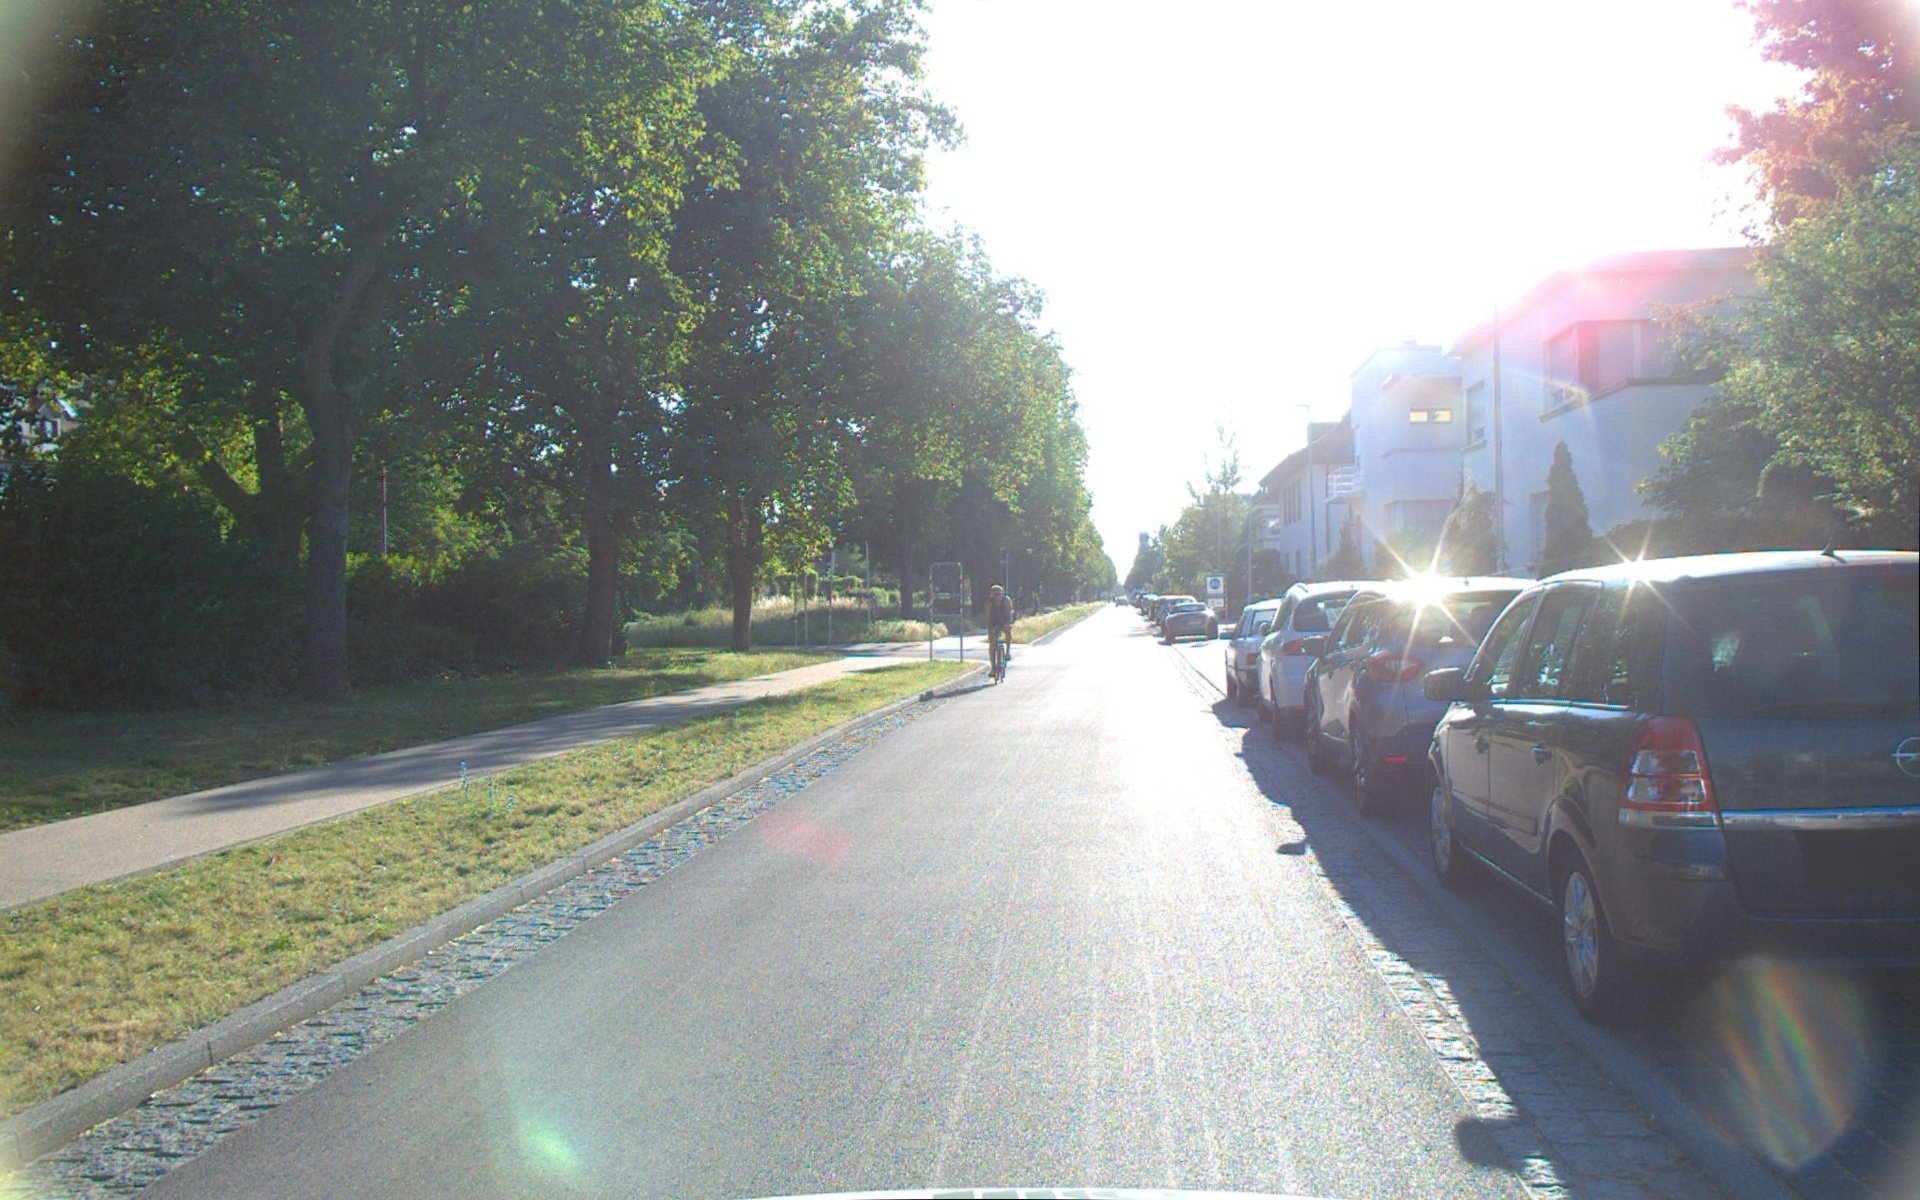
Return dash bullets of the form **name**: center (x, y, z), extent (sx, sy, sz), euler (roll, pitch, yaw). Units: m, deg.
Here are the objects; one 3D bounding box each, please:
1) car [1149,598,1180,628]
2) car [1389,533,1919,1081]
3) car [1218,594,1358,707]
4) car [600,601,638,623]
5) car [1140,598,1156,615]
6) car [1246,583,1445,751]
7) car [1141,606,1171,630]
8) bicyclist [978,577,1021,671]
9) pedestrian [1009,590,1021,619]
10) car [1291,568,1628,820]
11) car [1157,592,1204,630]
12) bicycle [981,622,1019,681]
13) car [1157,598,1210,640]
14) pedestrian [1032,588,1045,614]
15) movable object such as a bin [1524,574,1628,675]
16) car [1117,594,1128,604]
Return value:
- **car**: center (11.351, 0.684, 91.757), extent (1.593, 1.531, 3.636), euler (-3, 0, 6)
- **car**: center (3.108, 0.606, 7.106), extent (1.674, 1.639, 4.171), euler (-3, 0, 4)
- **car**: center (4.610, 0.652, 23.755), extent (1.530, 1.414, 4.377), euler (-2, 0, 6)
- **car**: center (-25.057, 0.871, 121.634), extent (1.657, 1.625, 4.224), euler (0, 0, 5)
- **car**: center (18.188, 0.603, 159.711), extent (1.466, 1.594, 3.269), euler (-1, 0, 7)
- **car**: center (4.132, 0.656, 18.287), extent (1.643, 1.583, 4.133), euler (-2, 0, 7)
- **car**: center (12.780, 1.194, 108.042), extent (1.700, 1.474, 4.199), euler (-2, -1, 4)
- **bicyclist**: center (0.747, 0.453, 30.852), extent (0.667, 1.702, 1.173), euler (-2, -1, 5)
- **pedestrian**: center (3.581, 0.291, 107.597), extent (0.611, 1.863, 0.887), euler (-1, 0, 9)
- **car**: center (3.652, 0.613, 12.819), extent (1.643, 1.583, 4.147), euler (-2, 0, 5)
- **car**: center (9.554, 0.456, 71.808), extent (1.708, 1.499, 3.924), euler (-4, 0, 5)
- **bicycle**: center (0.758, 0.940, 30.898), extent (0.544, 1.050, 1.916), euler (-2, -1, 5)
- **car**: center (8.145, 0.669, 60.615), extent (1.737, 1.311, 4.275), euler (-4, 0, 6)
- **pedestrian**: center (5.099, 0.060, 107.661), extent (0.766, 1.643, 0.952), euler (-1, 0, 9)
- **movable object such as a bin**: center (9.081, 0.359, 24.436), extent (1.211, 1.457, 1.124), euler (0, 0, 7)
- **car**: center (24.287, -0.126, 247.686), extent (1.617, 1.568, 3.268), euler (0, 0, 6)
